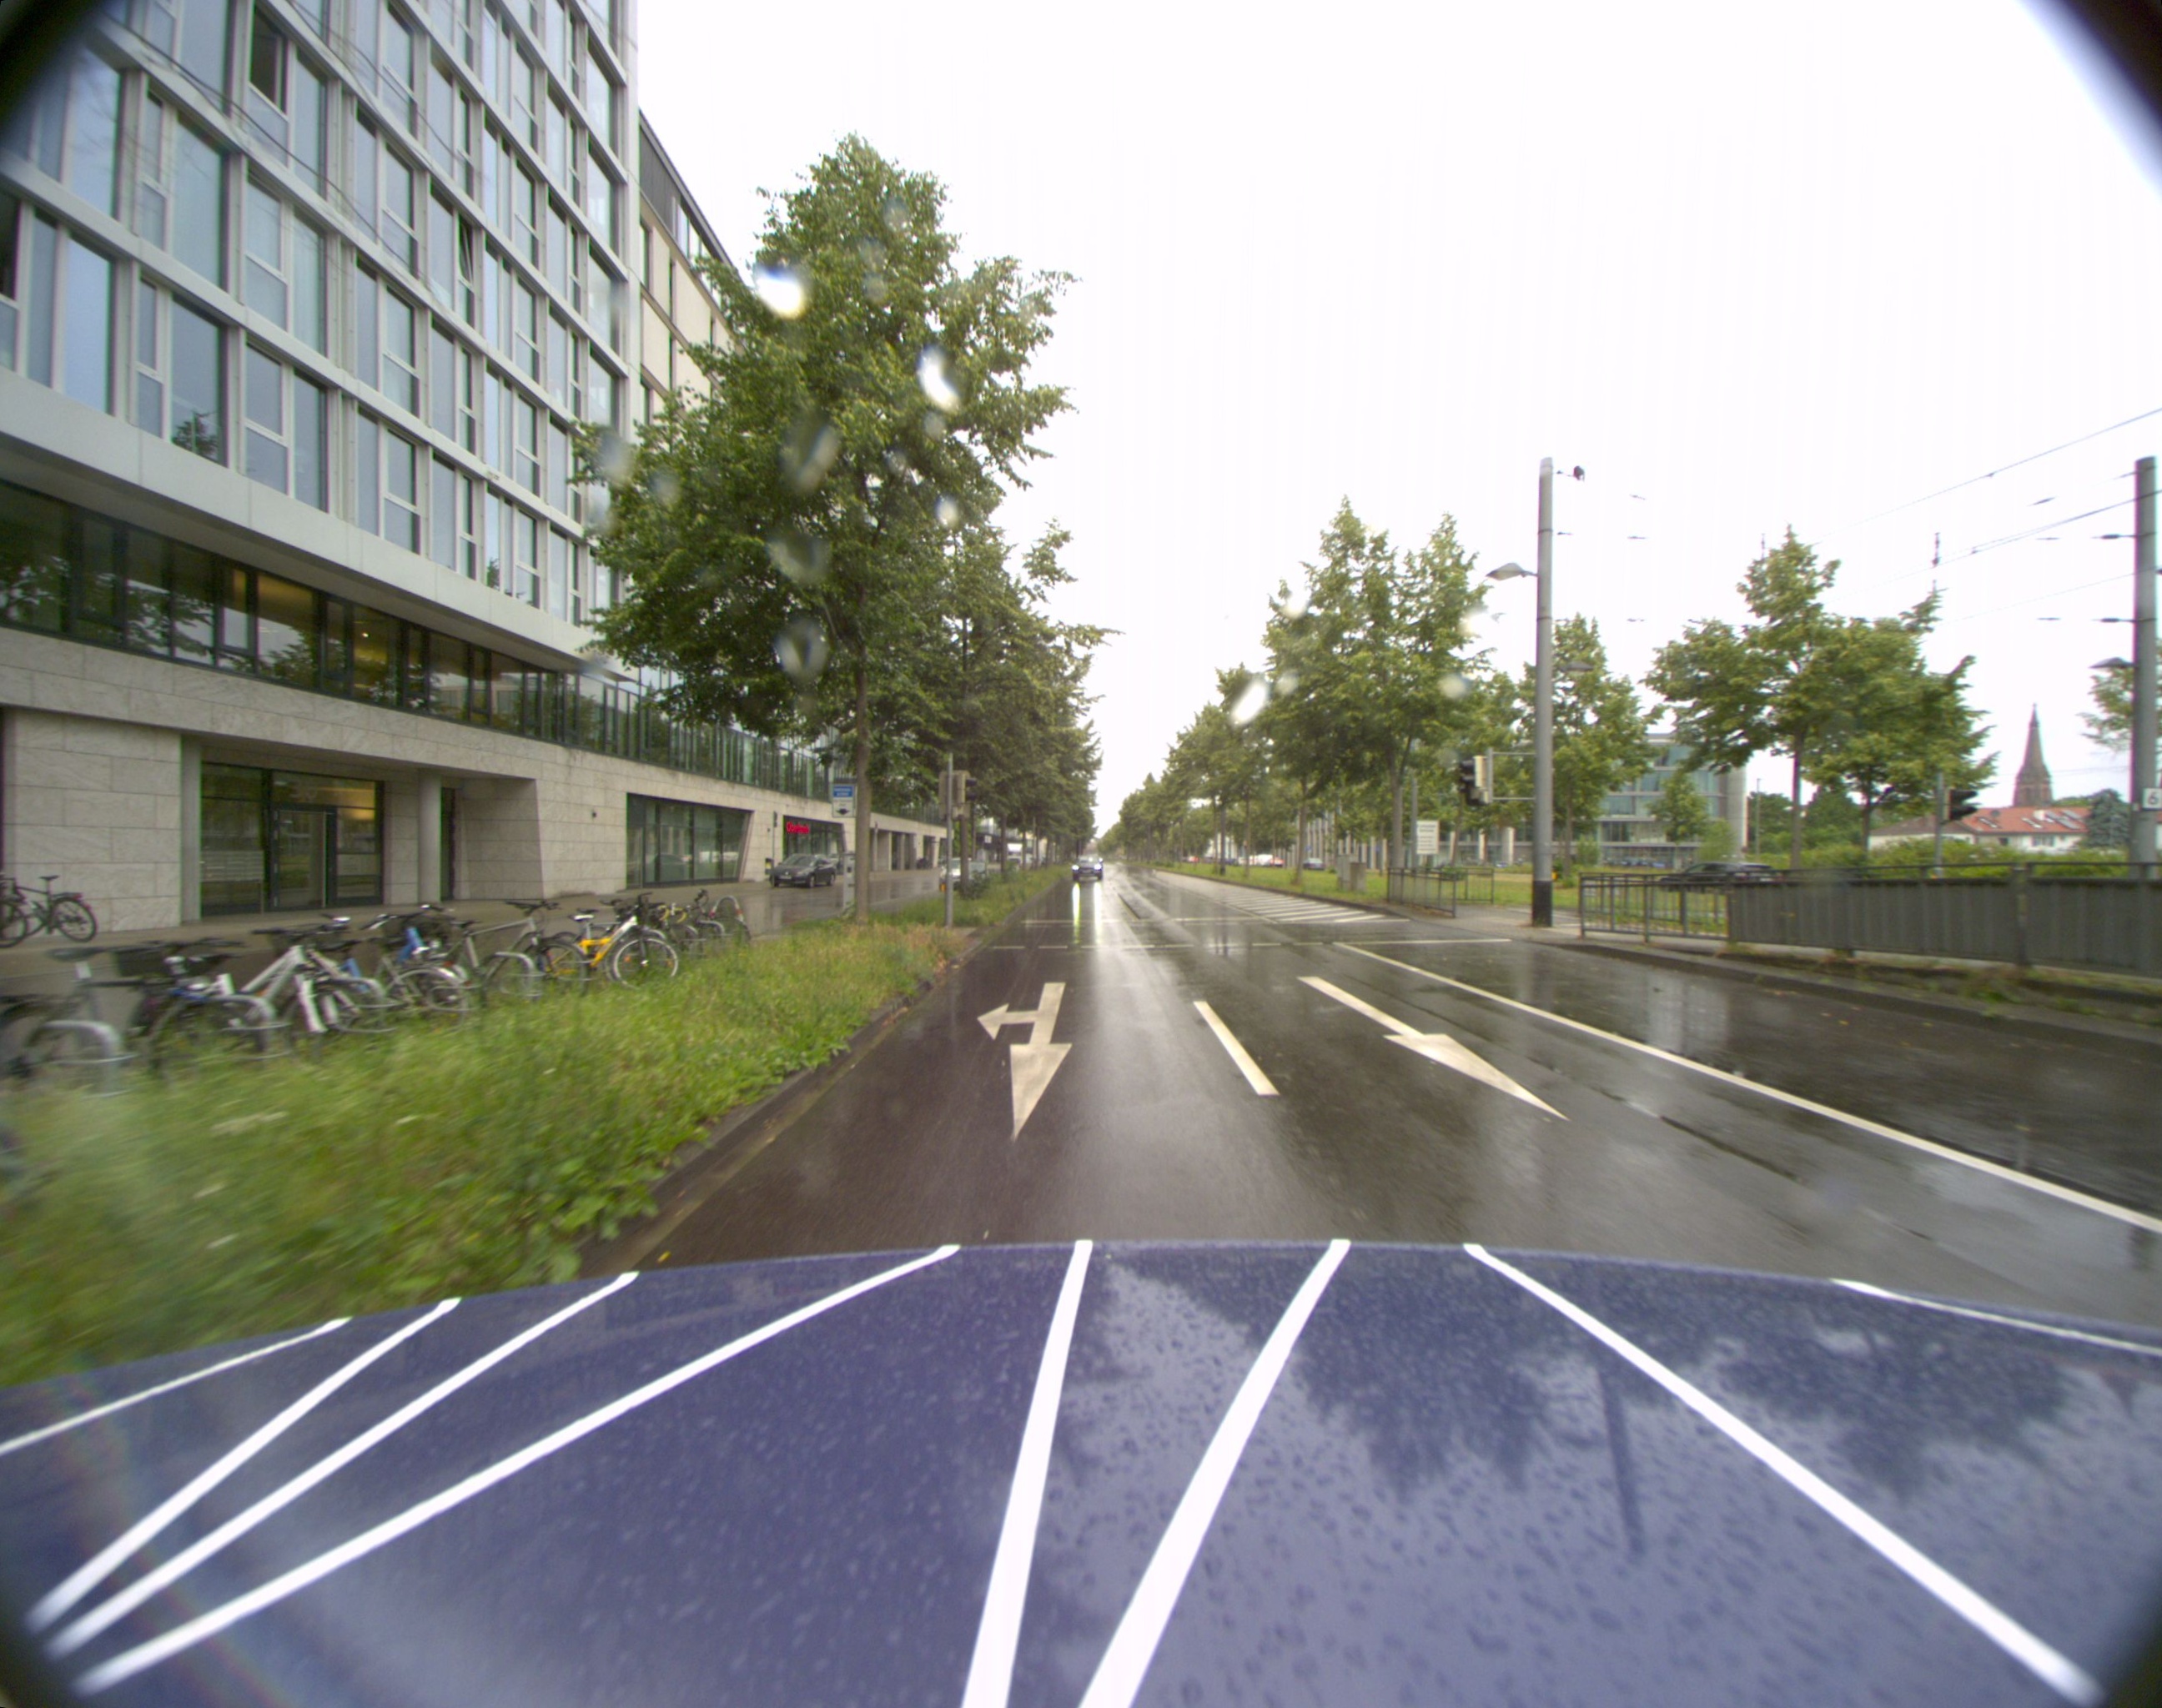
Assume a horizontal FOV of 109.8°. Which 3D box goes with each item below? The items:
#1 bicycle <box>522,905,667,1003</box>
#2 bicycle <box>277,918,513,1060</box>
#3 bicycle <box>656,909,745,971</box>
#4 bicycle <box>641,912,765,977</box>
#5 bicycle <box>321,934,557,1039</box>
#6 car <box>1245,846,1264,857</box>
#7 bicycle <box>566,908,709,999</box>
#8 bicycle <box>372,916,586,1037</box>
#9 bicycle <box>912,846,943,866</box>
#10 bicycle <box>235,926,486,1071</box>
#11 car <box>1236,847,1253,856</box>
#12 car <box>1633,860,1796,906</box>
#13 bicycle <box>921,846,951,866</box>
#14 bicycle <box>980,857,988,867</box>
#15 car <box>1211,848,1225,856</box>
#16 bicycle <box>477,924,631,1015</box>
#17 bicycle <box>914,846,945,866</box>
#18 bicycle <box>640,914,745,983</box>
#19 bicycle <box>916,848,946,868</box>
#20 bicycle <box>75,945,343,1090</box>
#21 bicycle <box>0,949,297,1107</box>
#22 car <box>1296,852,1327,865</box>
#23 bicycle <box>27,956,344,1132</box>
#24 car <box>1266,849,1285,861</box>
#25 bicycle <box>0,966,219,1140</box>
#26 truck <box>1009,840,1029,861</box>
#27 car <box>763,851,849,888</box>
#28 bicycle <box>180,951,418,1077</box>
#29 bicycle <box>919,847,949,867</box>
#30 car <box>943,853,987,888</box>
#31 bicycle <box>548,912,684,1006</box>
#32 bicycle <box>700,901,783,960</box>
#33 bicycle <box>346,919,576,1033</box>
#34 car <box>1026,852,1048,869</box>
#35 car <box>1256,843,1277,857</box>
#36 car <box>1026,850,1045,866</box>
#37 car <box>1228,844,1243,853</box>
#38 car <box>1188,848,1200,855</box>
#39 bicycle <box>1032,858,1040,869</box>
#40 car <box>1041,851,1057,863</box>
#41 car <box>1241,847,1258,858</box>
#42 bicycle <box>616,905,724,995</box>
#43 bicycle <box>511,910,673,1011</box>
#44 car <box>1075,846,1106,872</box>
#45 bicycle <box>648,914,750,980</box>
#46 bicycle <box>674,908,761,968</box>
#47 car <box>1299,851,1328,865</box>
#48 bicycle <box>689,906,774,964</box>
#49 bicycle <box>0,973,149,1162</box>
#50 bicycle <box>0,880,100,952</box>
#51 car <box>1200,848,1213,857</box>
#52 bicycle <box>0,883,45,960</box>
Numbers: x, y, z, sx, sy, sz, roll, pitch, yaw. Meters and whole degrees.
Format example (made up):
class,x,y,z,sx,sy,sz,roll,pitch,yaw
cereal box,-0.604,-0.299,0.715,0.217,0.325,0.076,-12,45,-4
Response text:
class,x,y,z,sx,sy,sz,roll,pitch,yaw
bicycle,-5.378,1.093,8.420,1.442,1.011,0.349,0,0,5
bicycle,-5.555,1.088,6.182,1.617,1.090,0.296,1,1,-2
bicycle,-5.650,1.272,11.292,1.290,0.844,0.275,1,1,12
bicycle,-5.350,1.269,10.767,1.675,0.844,0.275,1,1,5
bicycle,-5.505,1.133,6.555,1.711,0.844,0.313,0,0,-3
car,30.017,-0.421,131.693,1.956,1.641,5.031,1,-2,-1
bicycle,-5.413,1.200,9.286,1.577,1.012,0.408,1,1,7
bicycle,-5.714,1.152,7.248,1.711,1.096,0.283,1,1,-6
bicycle,-14.200,0.197,70.152,2.685,1.850,0.707,1,0,6
bicycle,-5.537,1.105,5.867,1.617,1.047,0.296,1,1,-2
car,27.589,-0.405,128.559,1.955,1.504,4.576,0,0,1
car,25.669,1.102,31.122,1.956,1.598,5.499,1,0,-2
bicycle,-13.970,0.198,73.232,2.685,1.850,0.707,1,0,6
bicycle,-11.732,0.941,91.861,0.519,1.124,2.065,1,0,3
car,27.143,-0.346,151.118,1.956,1.377,4.606,1,-2,0
bicycle,-5.283,1.151,7.640,1.292,0.844,0.275,0,1,-5
bicycle,-14.122,0.196,70.896,2.685,1.850,0.707,1,0,6
bicycle,-5.147,1.246,10.086,1.291,0.853,0.275,0,0,5
bicycle,-14.118,0.395,71.692,2.685,1.850,0.707,1,0,6
bicycle,-5.743,1.069,5.028,1.414,0.892,0.275,1,1,-2
bicycle,-5.546,1.006,4.440,1.619,0.844,0.275,-1,1,0
car,23.265,0.472,76.743,1.553,1.258,4.852,1,-1,-1
bicycle,-5.568,1.175,4.750,1.619,1.016,0.275,-1,1,0
car,29.601,0.103,115.688,1.955,1.739,4.577,0,0,4
bicycle,-5.414,1.049,4.063,1.292,0.844,0.275,1,1,0
truck,-10.507,-0.557,129.489,3.033,3.421,8.546,0,0,-2
car,-12.501,0.687,34.952,1.998,1.492,5.035,3,-1,1
bicycle,-5.651,1.153,5.516,1.409,0.844,0.275,1,1,-2
bicycle,-14.046,0.246,72.469,2.685,1.850,0.707,1,0,6
car,-5.478,0.818,36.230,1.887,1.496,4.722,1,-2,-7
bicycle,-5.389,1.199,8.822,1.441,1.011,0.349,0,0,7
bicycle,-5.473,1.225,12.258,1.290,0.869,0.301,1,1,12
bicycle,-5.619,1.096,6.932,1.711,0.942,0.313,-1,1,-6
car,-4.669,0.769,80.949,1.998,1.659,4.725,1,-2,1
car,30.140,-0.596,123.701,2.273,1.994,5.375,1,-2,2
car,-4.556,0.421,76.002,1.629,1.482,3.656,1,-1,0
car,28.235,-1.011,138.999,1.956,1.485,3.963,1,-2,-1
car,24.509,-0.493,164.865,1.955,1.444,4.576,0,0,1
bicycle,-3.341,0.722,56.499,0.343,0.817,1.903,1,-2,4
car,-4.217,0.391,99.527,1.962,1.504,4.480,1,0,-5
car,26.843,-0.247,120.863,1.955,1.452,4.834,0,-2,4
bicycle,-5.222,1.212,9.657,1.291,1.068,0.275,1,1,9
bicycle,-5.153,1.113,8.042,1.456,1.012,0.349,0,1,-1
car,0.662,0.315,50.471,1.928,1.650,4.716,1,0,2
bicycle,-5.222,1.263,10.408,1.291,0.844,0.275,1,1,5
bicycle,-5.541,1.270,11.587,1.290,0.844,0.275,1,1,12
car,23.523,0.398,77.065,1.492,1.290,4.976,1,1,0
bicycle,-5.467,1.252,11.875,1.290,0.827,0.275,1,1,12
bicycle,-5.548,1.035,3.714,1.619,0.844,0.275,-1,1,0
bicycle,-15.695,0.907,11.291,1.810,1.022,0.401,1,1,3
car,26.741,-0.378,162.225,1.955,1.837,4.544,1,-1,0
bicycle,-15.706,0.929,10.618,1.810,1.022,0.541,1,1,3
